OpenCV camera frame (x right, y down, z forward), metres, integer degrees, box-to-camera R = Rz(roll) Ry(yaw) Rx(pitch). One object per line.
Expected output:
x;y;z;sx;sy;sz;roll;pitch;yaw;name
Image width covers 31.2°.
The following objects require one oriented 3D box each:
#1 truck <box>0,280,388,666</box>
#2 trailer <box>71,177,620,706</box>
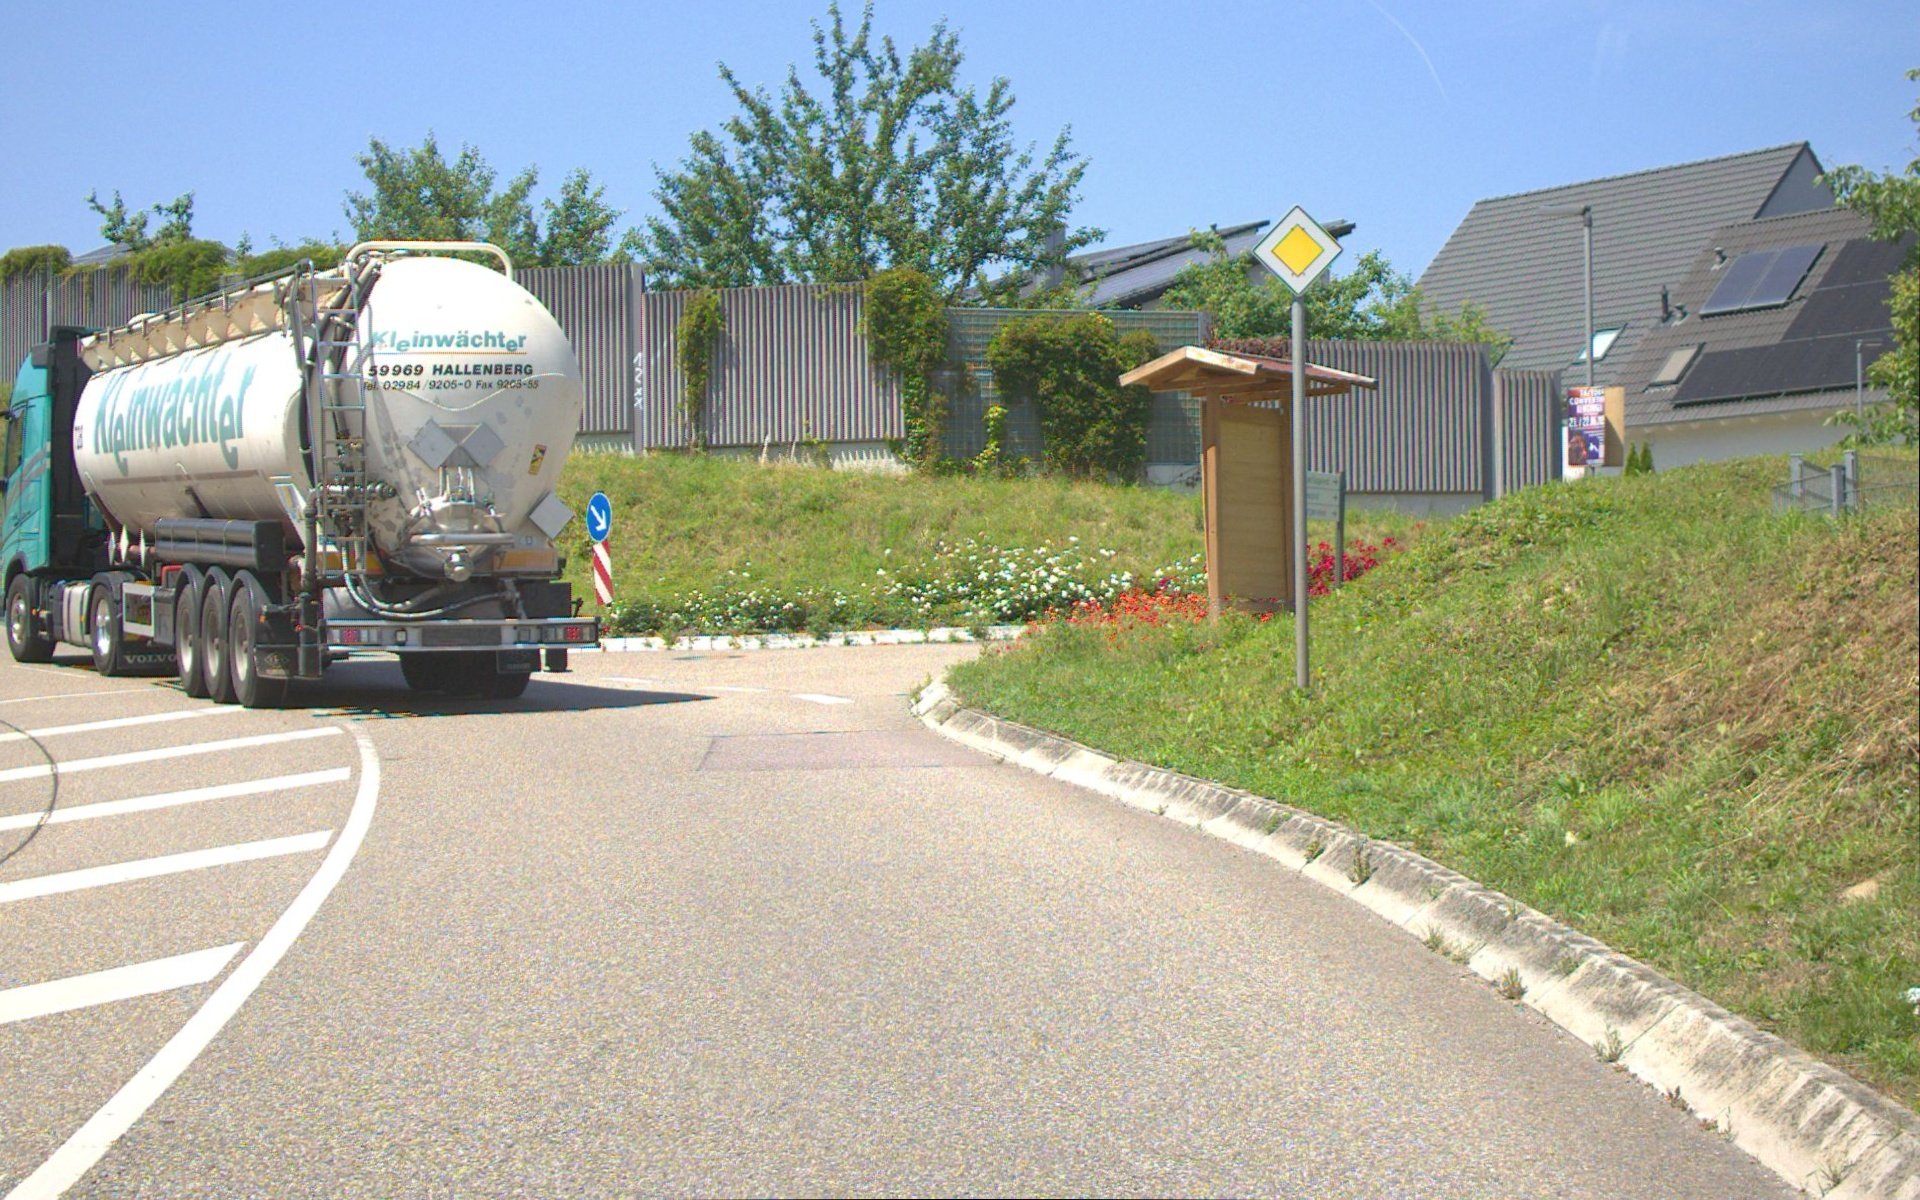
-8.839;-1.373;38.779;2.726;3.916;7.264;-1;1;-26;truck
-6.324;-1.405;33.175;2.660;4.174;11.907;-1;2;-23;trailer
